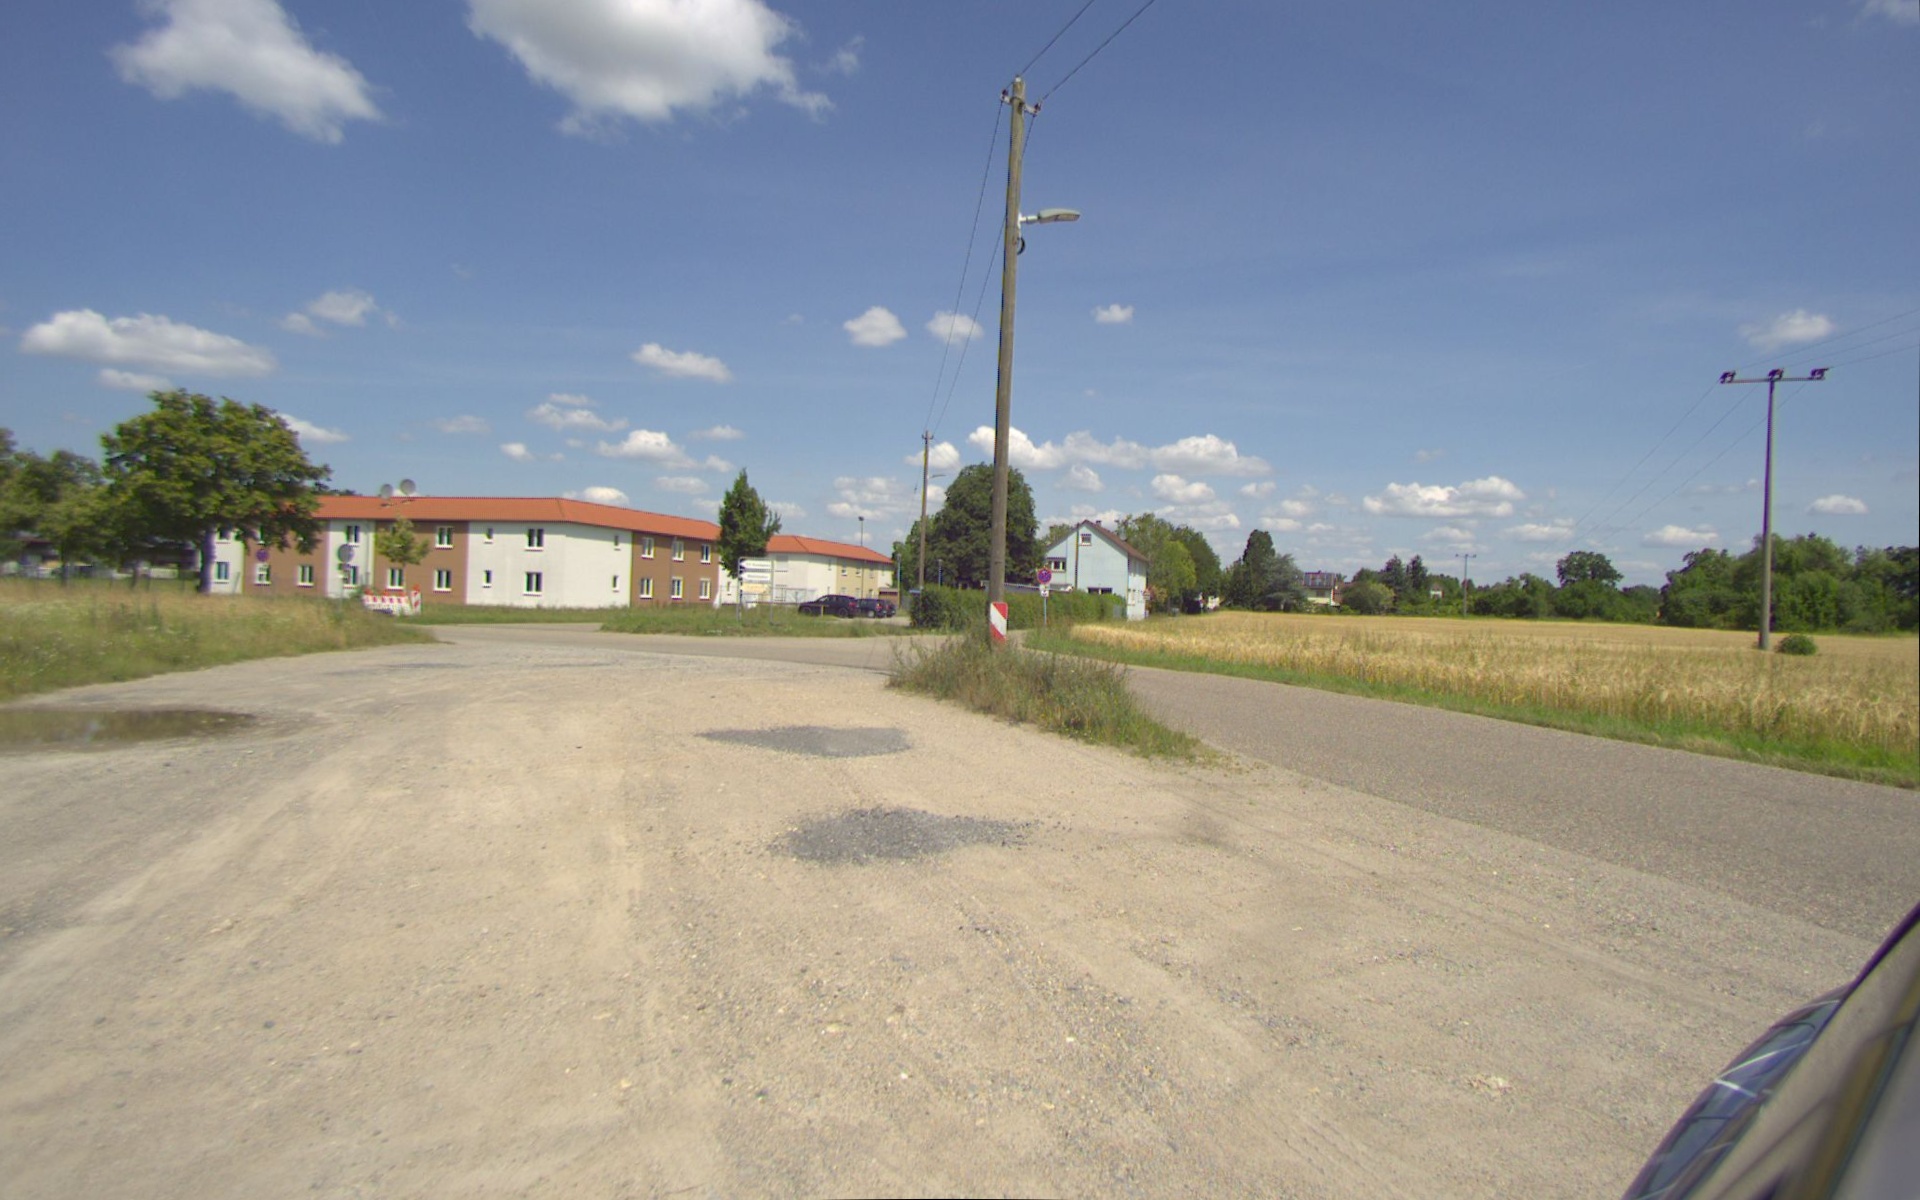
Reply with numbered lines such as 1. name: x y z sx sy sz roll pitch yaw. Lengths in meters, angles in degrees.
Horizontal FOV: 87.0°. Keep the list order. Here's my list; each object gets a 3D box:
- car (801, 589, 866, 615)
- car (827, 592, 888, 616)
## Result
1. car: -9.001 0.151 72.125 4.091 1.635 1.989 2 0 16
2. car: -7.643 0.325 75.798 4.091 1.635 1.989 2 0 16
